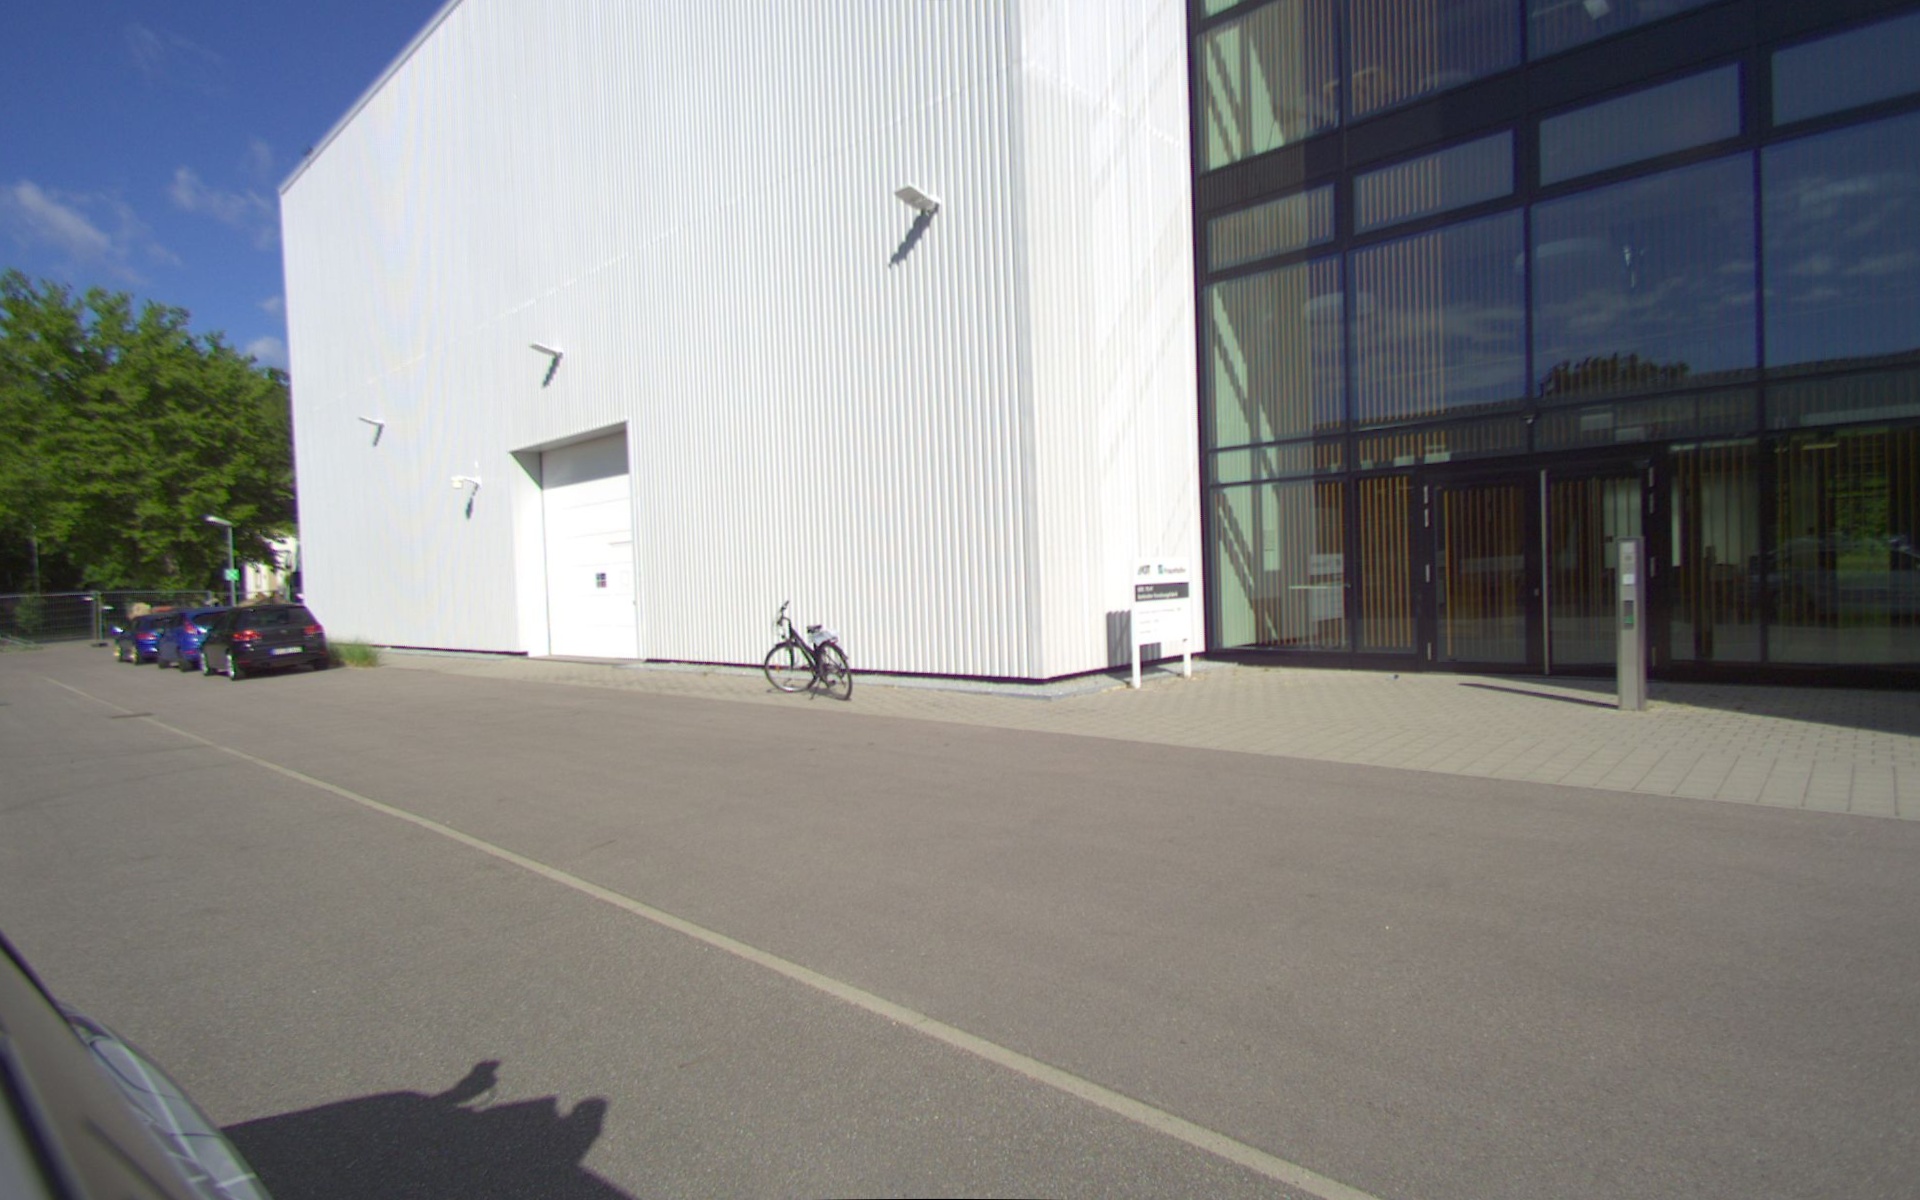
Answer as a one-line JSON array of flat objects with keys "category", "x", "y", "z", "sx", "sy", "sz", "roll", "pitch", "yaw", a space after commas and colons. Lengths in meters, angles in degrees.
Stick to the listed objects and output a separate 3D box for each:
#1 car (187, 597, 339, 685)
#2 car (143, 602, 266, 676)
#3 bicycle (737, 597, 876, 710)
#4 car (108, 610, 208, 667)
[{"category": "car", "x": -14.895, "y": 0.818, "z": 21.542, "sx": 4.002, "sy": 1.533, "sz": 1.870, "roll": -1, "pitch": 4, "yaw": 45}, {"category": "car", "x": -18.767, "y": 0.928, "z": 25.084, "sx": 4.002, "sy": 1.533, "sz": 1.766, "roll": -1, "pitch": 4, "yaw": 45}, {"category": "bicycle", "x": -1.886, "y": 0.584, "z": 12.172, "sx": 0.895, "sy": 1.151, "sz": 1.905, "roll": -6, "pitch": 4, "yaw": -32}, {"category": "car", "x": -22.845, "y": 1.064, "z": 28.774, "sx": 4.002, "sy": 1.451, "sz": 1.765, "roll": -1, "pitch": 0, "yaw": 45}]
